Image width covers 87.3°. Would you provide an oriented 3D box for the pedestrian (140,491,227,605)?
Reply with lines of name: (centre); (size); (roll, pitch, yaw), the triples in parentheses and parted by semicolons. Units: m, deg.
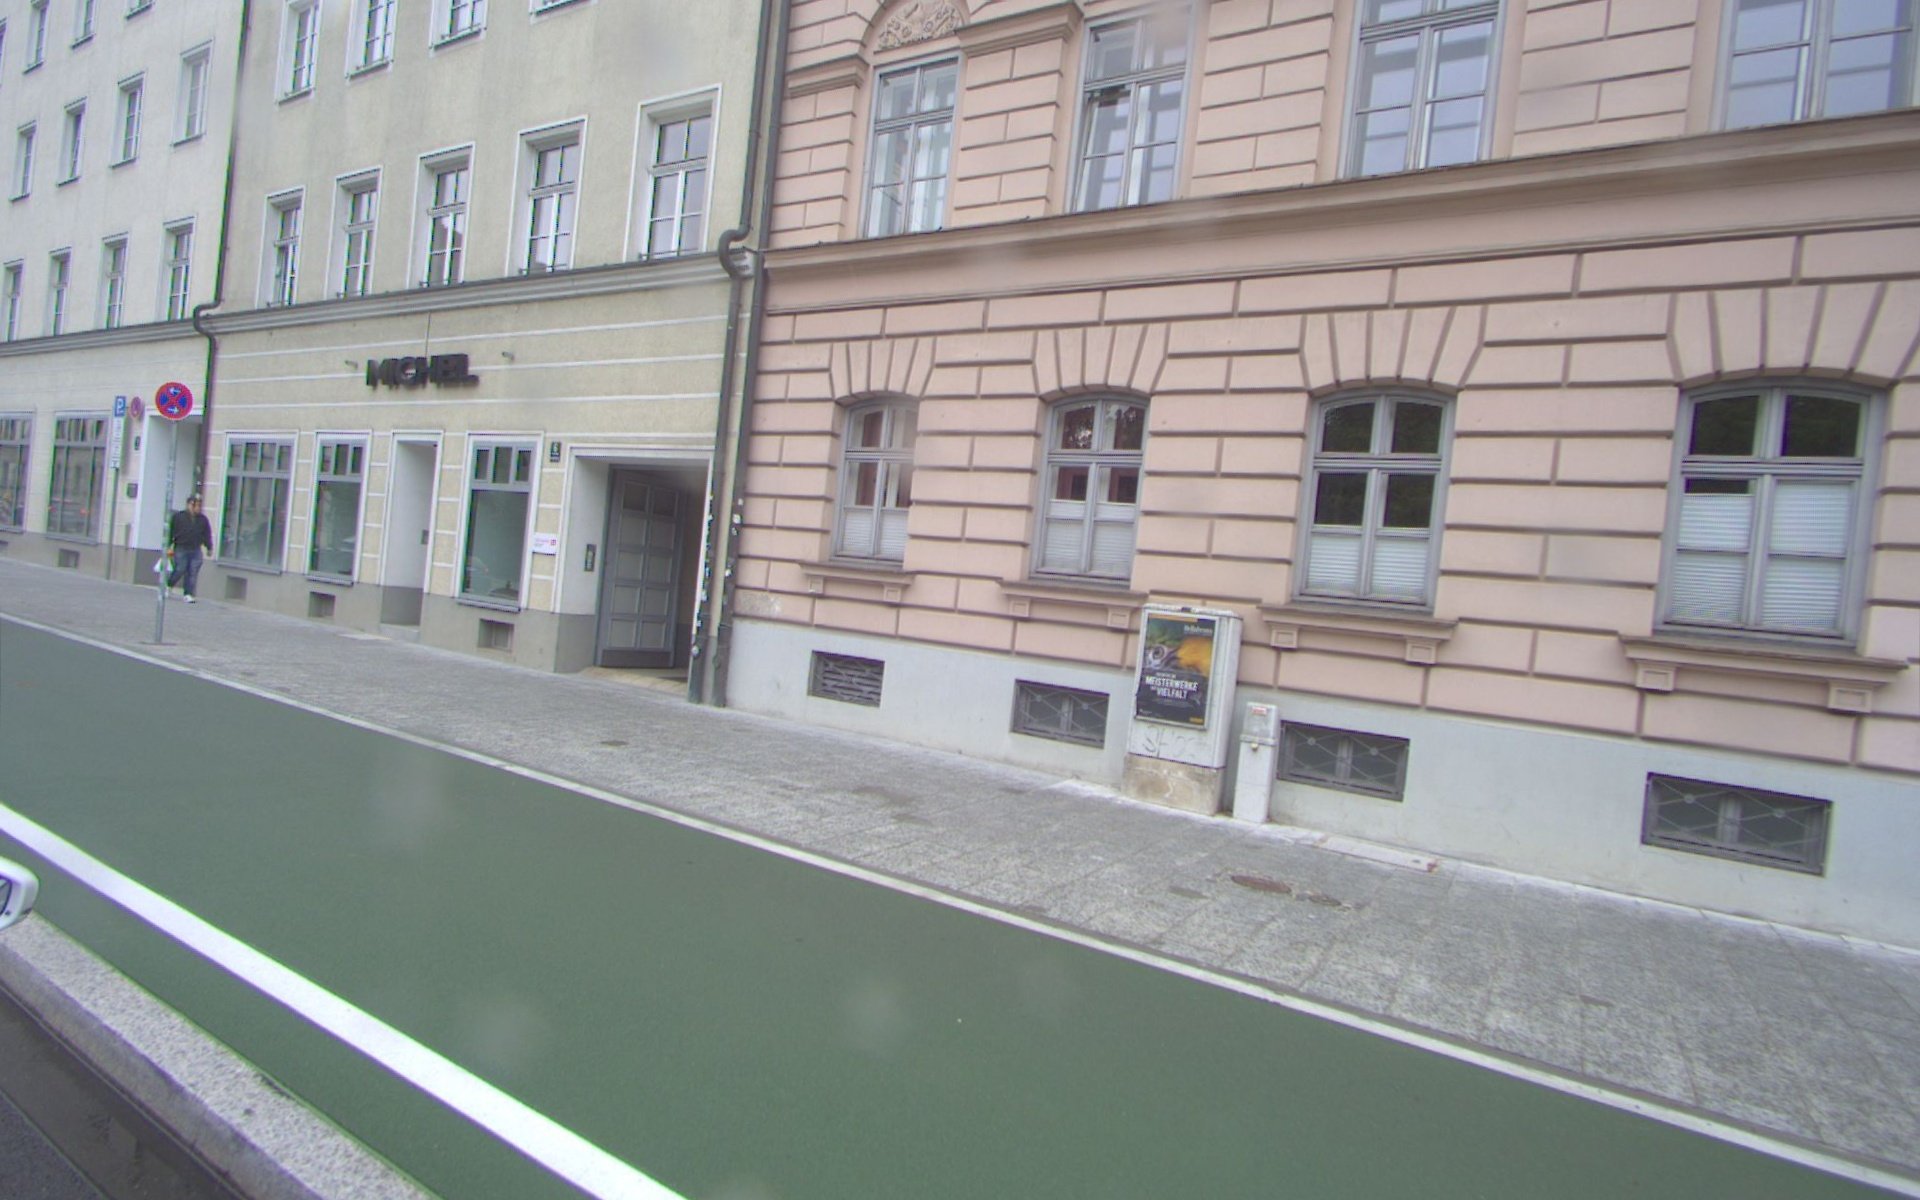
pedestrian: (-12.952, -0.865, 16.781); (0.819, 1.767, 0.794); (7, 1, 32)
